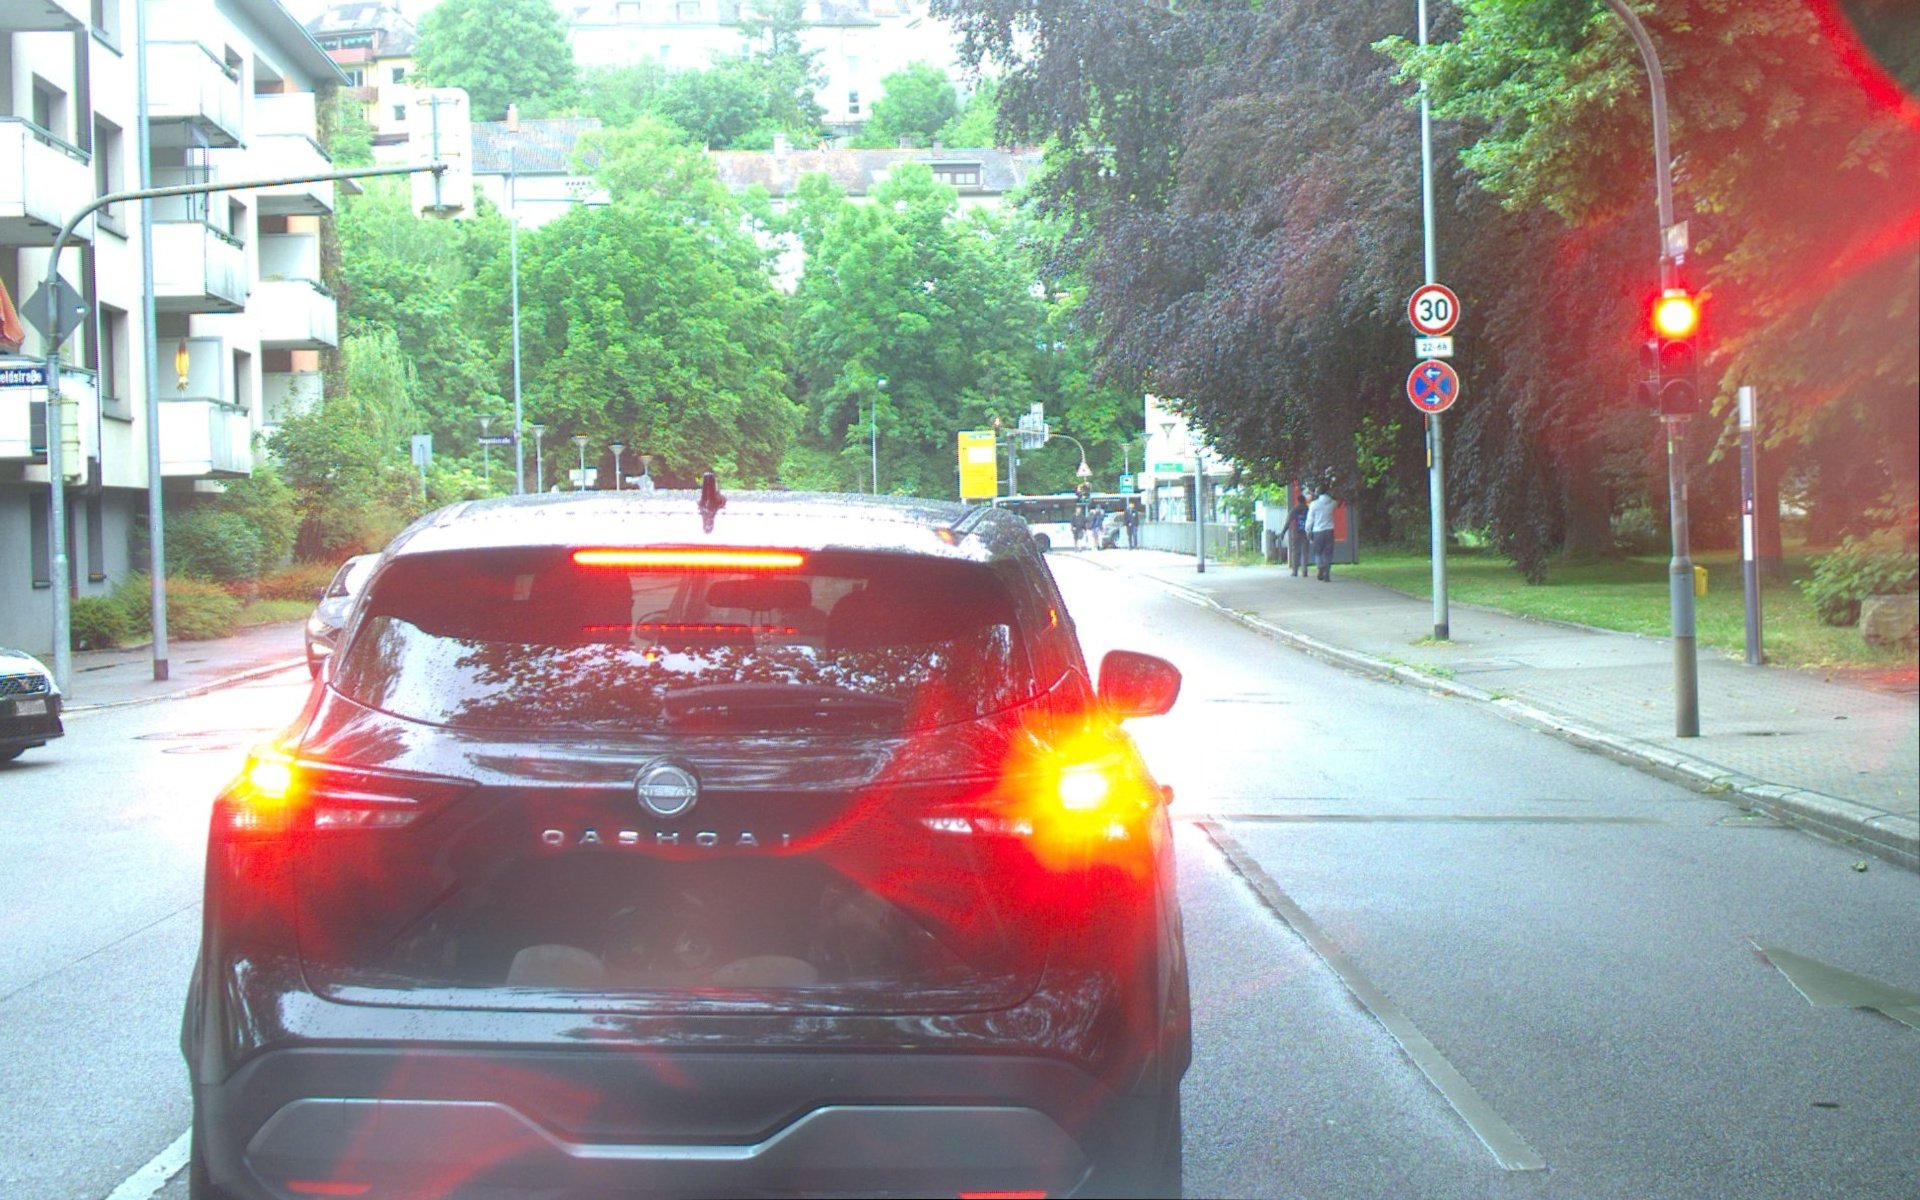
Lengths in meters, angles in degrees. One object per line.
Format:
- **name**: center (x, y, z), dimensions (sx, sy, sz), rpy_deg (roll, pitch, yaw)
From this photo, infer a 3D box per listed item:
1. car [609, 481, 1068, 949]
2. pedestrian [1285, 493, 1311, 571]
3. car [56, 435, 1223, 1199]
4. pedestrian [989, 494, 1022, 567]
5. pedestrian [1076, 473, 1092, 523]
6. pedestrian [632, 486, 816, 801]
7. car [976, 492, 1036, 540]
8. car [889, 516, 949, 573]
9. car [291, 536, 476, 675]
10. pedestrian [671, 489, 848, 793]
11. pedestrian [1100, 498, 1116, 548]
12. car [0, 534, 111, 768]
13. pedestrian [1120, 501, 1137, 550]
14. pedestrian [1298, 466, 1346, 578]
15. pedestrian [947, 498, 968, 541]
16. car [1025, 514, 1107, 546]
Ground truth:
- **car**: center (-0.486, 0.400, 15.015), dimensions (1.698, 1.739, 3.641), rpy_deg (-2, 1, -1)
- **pedestrian**: center (6.585, -1.326, 66.981), dimensions (0.390, 1.497, 0.559), rpy_deg (-2, 1, 0)
- **car**: center (-0.545, 0.524, 7.653), dimensions (1.913, 1.674, 4.000), rpy_deg (0, 1, 0)
- **pedestrian**: center (1.158, -1.750, 86.643), dimensions (0.508, 1.795, 0.619), rpy_deg (-3, 1, -34)
- **pedestrian**: center (4.592, -3.775, 127.304), dimensions (0.508, 1.795, 0.619), rpy_deg (-2, 1, -1)
- **pedestrian**: center (-1.435, 0.252, 20.817), dimensions (1.035, 1.869, 0.658), rpy_deg (0, 1, -11)
- **car**: center (1.738, -3.132, 128.478), dimensions (1.994, 1.729, 3.999), rpy_deg (1, 1, 4)
- **car**: center (-1.190, -1.617, 99.202), dimensions (1.634, 1.527, 3.968), rpy_deg (-2, 1, -1)
- **car**: center (-6.936, 0.026, 41.689), dimensions (1.795, 1.528, 3.868), rpy_deg (-2, 1, -4)
- **pedestrian**: center (-1.263, 0.245, 21.569), dimensions (1.035, 1.869, 0.658), rpy_deg (0, 1, -11)
- **pedestrian**: center (5.471, -2.837, 126.791), dimensions (0.508, 1.795, 0.659), rpy_deg (-2, 1, 4)
- **car**: center (-8.583, 0.414, 25.232), dimensions (4.127, 1.620, 1.850), rpy_deg (-2, 1, 15)
- **pedestrian**: center (6.214, -2.740, 126.774), dimensions (0.508, 1.795, 0.619), rpy_deg (-2, 1, -2)
- **pedestrian**: center (6.588, -1.423, 62.589), dimensions (0.725, 2.007, 0.851), rpy_deg (-2, 1, 0)
- **pedestrian**: center (-0.099, -3.161, 135.685), dimensions (0.509, 1.667, 0.658), rpy_deg (-1, 1, 27)
- **car**: center (5.454, -3.614, 177.334), dimensions (3.953, 1.527, 1.640), rpy_deg (-2, 1, -8)
